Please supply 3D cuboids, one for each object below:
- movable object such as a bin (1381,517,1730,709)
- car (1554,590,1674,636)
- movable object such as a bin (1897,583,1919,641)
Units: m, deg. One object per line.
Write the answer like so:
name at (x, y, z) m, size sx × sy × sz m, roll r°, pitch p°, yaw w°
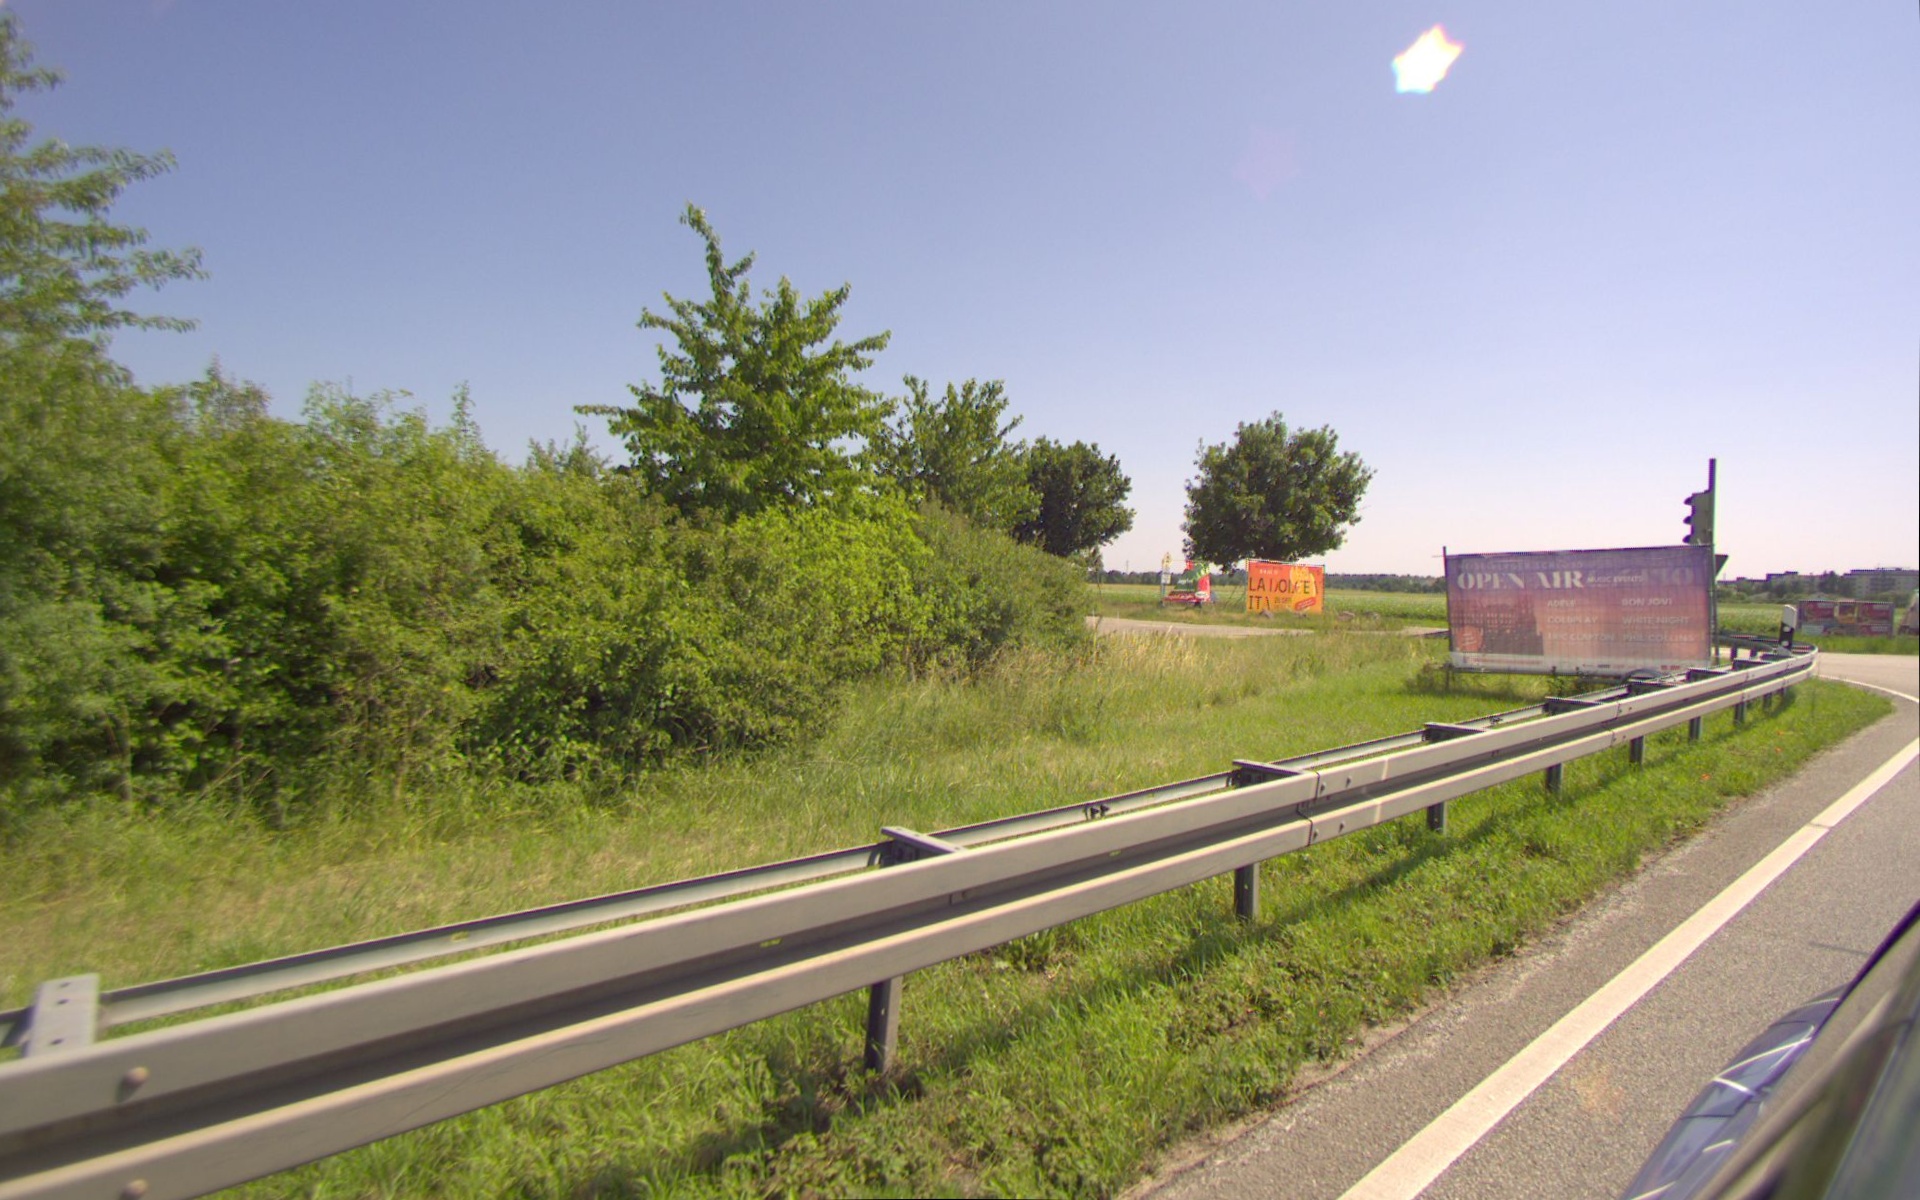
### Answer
movable object such as a bin at (8.292, 0.159, 14.420) m, size 1.256 × 2.361 × 4.099 m, roll 0°, pitch 0°, yaw -42°
car at (23.050, 0.436, 35.715) m, size 1.378 × 1.518 × 3.338 m, roll 0°, pitch 1°, yaw -44°
movable object such as a bin at (41.704, 0.500, 42.583) m, size 4.331 × 2.393 × 1.530 m, roll 0°, pitch 0°, yaw -20°
